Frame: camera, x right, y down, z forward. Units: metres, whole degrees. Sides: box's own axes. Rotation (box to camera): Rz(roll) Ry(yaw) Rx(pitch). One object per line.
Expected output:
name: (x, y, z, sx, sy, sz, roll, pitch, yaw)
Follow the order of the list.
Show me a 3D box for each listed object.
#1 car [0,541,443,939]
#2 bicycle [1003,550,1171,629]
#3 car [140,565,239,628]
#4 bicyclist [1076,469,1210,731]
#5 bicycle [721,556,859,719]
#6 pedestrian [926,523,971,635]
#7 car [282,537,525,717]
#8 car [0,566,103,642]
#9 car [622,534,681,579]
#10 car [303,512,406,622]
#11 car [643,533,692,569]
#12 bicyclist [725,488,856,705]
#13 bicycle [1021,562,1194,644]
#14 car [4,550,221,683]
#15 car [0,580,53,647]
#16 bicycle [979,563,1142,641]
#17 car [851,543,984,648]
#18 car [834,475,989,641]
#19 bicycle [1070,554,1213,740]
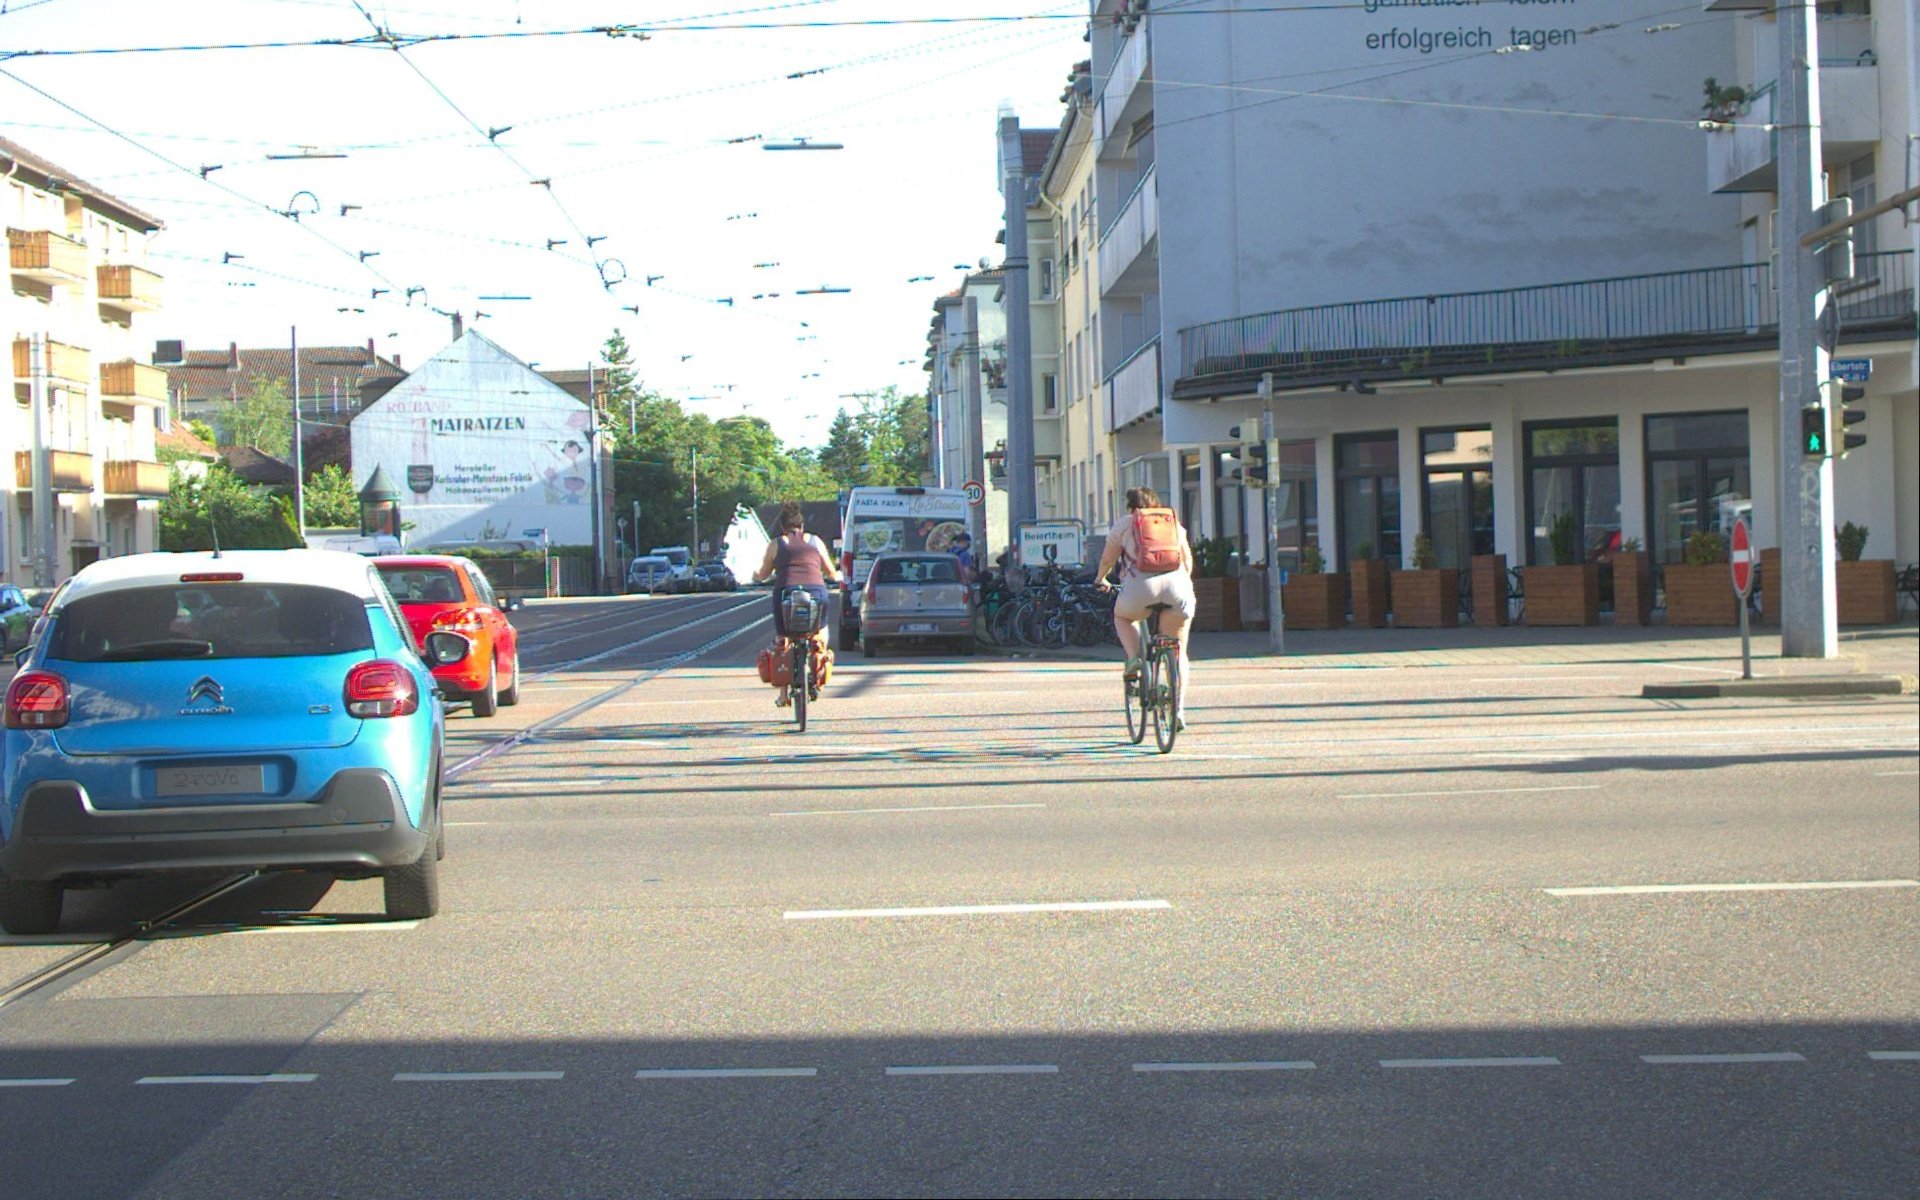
car: (-3.079, 0.491, 14.505, 1.736, 1.447, 3.663, -1, 1, -8)
bicycle: (1.777, -0.153, 48.328, 2.251, 0.998, 0.856, -3, 1, -2)
car: (-20.093, -0.110, 89.801, 1.869, 1.571, 4.001, 1, 1, -3)
bicyclist: (1.214, -0.005, 22.693, 0.811, 1.686, 0.935, 1, 0, 7)
bicycle: (-1.315, 0.274, 27.005, 0.940, 1.219, 2.094, 1, 1, 1)
pedestrian: (-0.175, -0.314, 51.227, 0.613, 1.648, 0.671, 1, 0, -3)
car: (-5.058, 0.204, 31.678, 1.784, 1.516, 3.763, 1, 1, -3)
car: (-19.854, 0.066, 74.255, 1.869, 1.571, 4.001, 1, 1, -3)
car: (-13.625, -1.936, 152.008, 2.218, 1.925, 4.950, 1, 1, -1)
car: (-17.779, -0.973, 101.066, 2.418, 3.131, 3.488, 1, 1, -1)
car: (-14.401, -2.407, 169.563, 2.074, 1.756, 5.037, 1, 1, -1)
bicyclist: (-1.325, -0.032, 27.054, 0.940, 1.667, 1.079, 1, 0, 1)
bicycle: (2.010, 0.036, 46.974, 2.251, 0.998, 0.856, -3, 1, -2)
car: (-10.169, 0.167, 41.505, 1.778, 1.481, 3.829, -2, 1, -3)
car: (-19.420, 0.242, 68.036, 1.947, 1.235, 4.283, 1, 1, -2)
bicycle: (1.435, 0.023, 49.441, 2.251, 0.998, 0.856, -3, 1, -2)
car: (-0.643, -0.086, 49.020, 1.657, 1.426, 3.889, 1, 1, -4)
car: (-0.821, -0.666, 54.090, 2.265, 2.473, 5.009, 0, 1, -3)
bicycle: (1.230, 0.287, 22.869, 0.811, 1.177, 2.063, 1, 1, 7)
